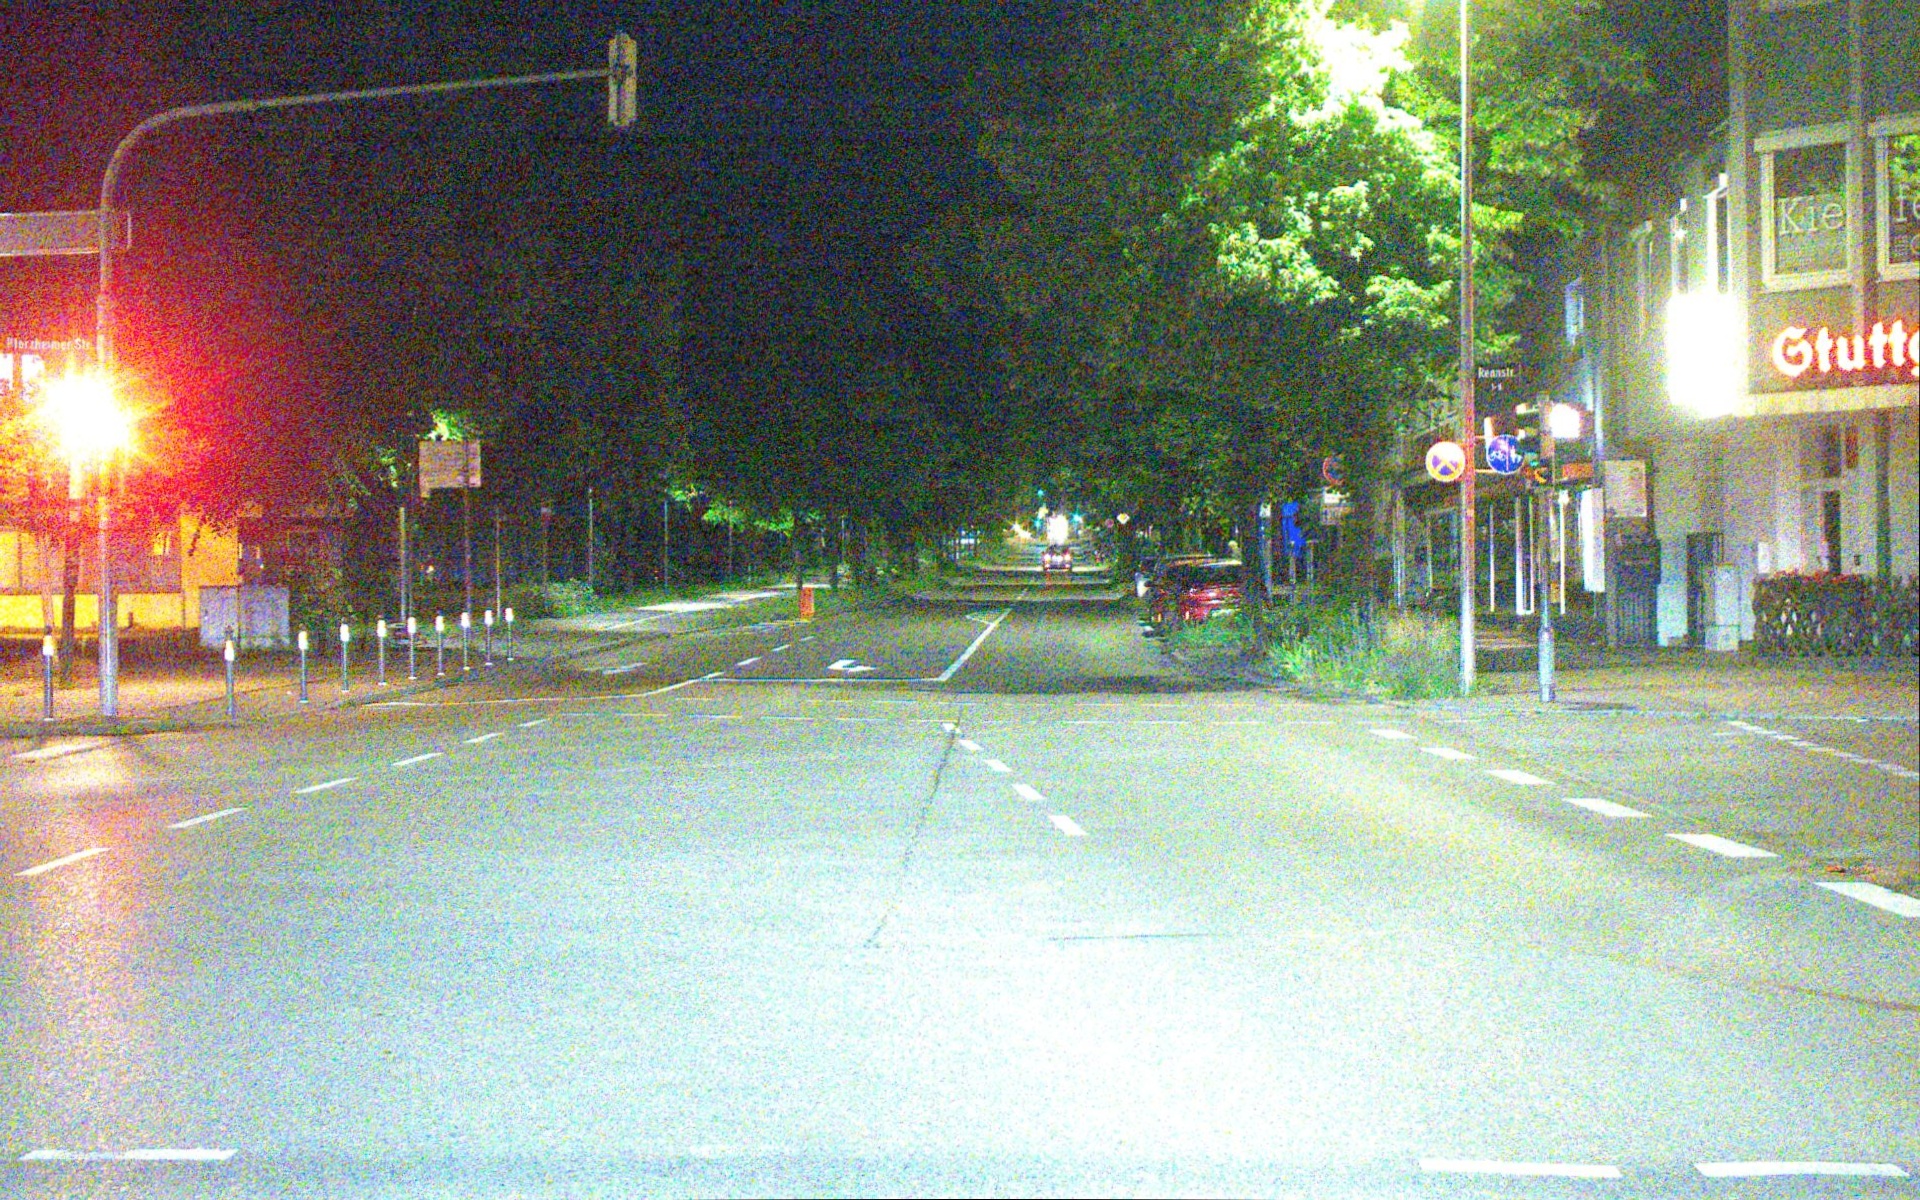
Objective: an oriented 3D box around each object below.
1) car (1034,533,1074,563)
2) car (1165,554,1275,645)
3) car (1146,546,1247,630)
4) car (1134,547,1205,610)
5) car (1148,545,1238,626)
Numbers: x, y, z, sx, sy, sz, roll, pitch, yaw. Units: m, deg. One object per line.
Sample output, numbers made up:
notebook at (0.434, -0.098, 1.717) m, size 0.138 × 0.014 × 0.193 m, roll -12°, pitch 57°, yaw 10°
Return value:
car at (5.235, -2.882, 192.077) m, size 2.227 × 1.645 × 4.000 m, roll 0°, pitch 1°, yaw 1°
car at (4.778, -0.037, 63.556) m, size 1.876 × 1.610 × 4.000 m, roll 0°, pitch 1°, yaw 2°
car at (4.706, -0.256, 68.793) m, size 1.876 × 1.610 × 4.000 m, roll 0°, pitch 1°, yaw 2°
car at (5.739, -0.593, 94.531) m, size 1.876 × 1.678 × 4.000 m, roll 0°, pitch 1°, yaw 2°
car at (5.165, -0.336, 76.464) m, size 1.876 × 1.723 × 4.000 m, roll 0°, pitch 1°, yaw 2°
